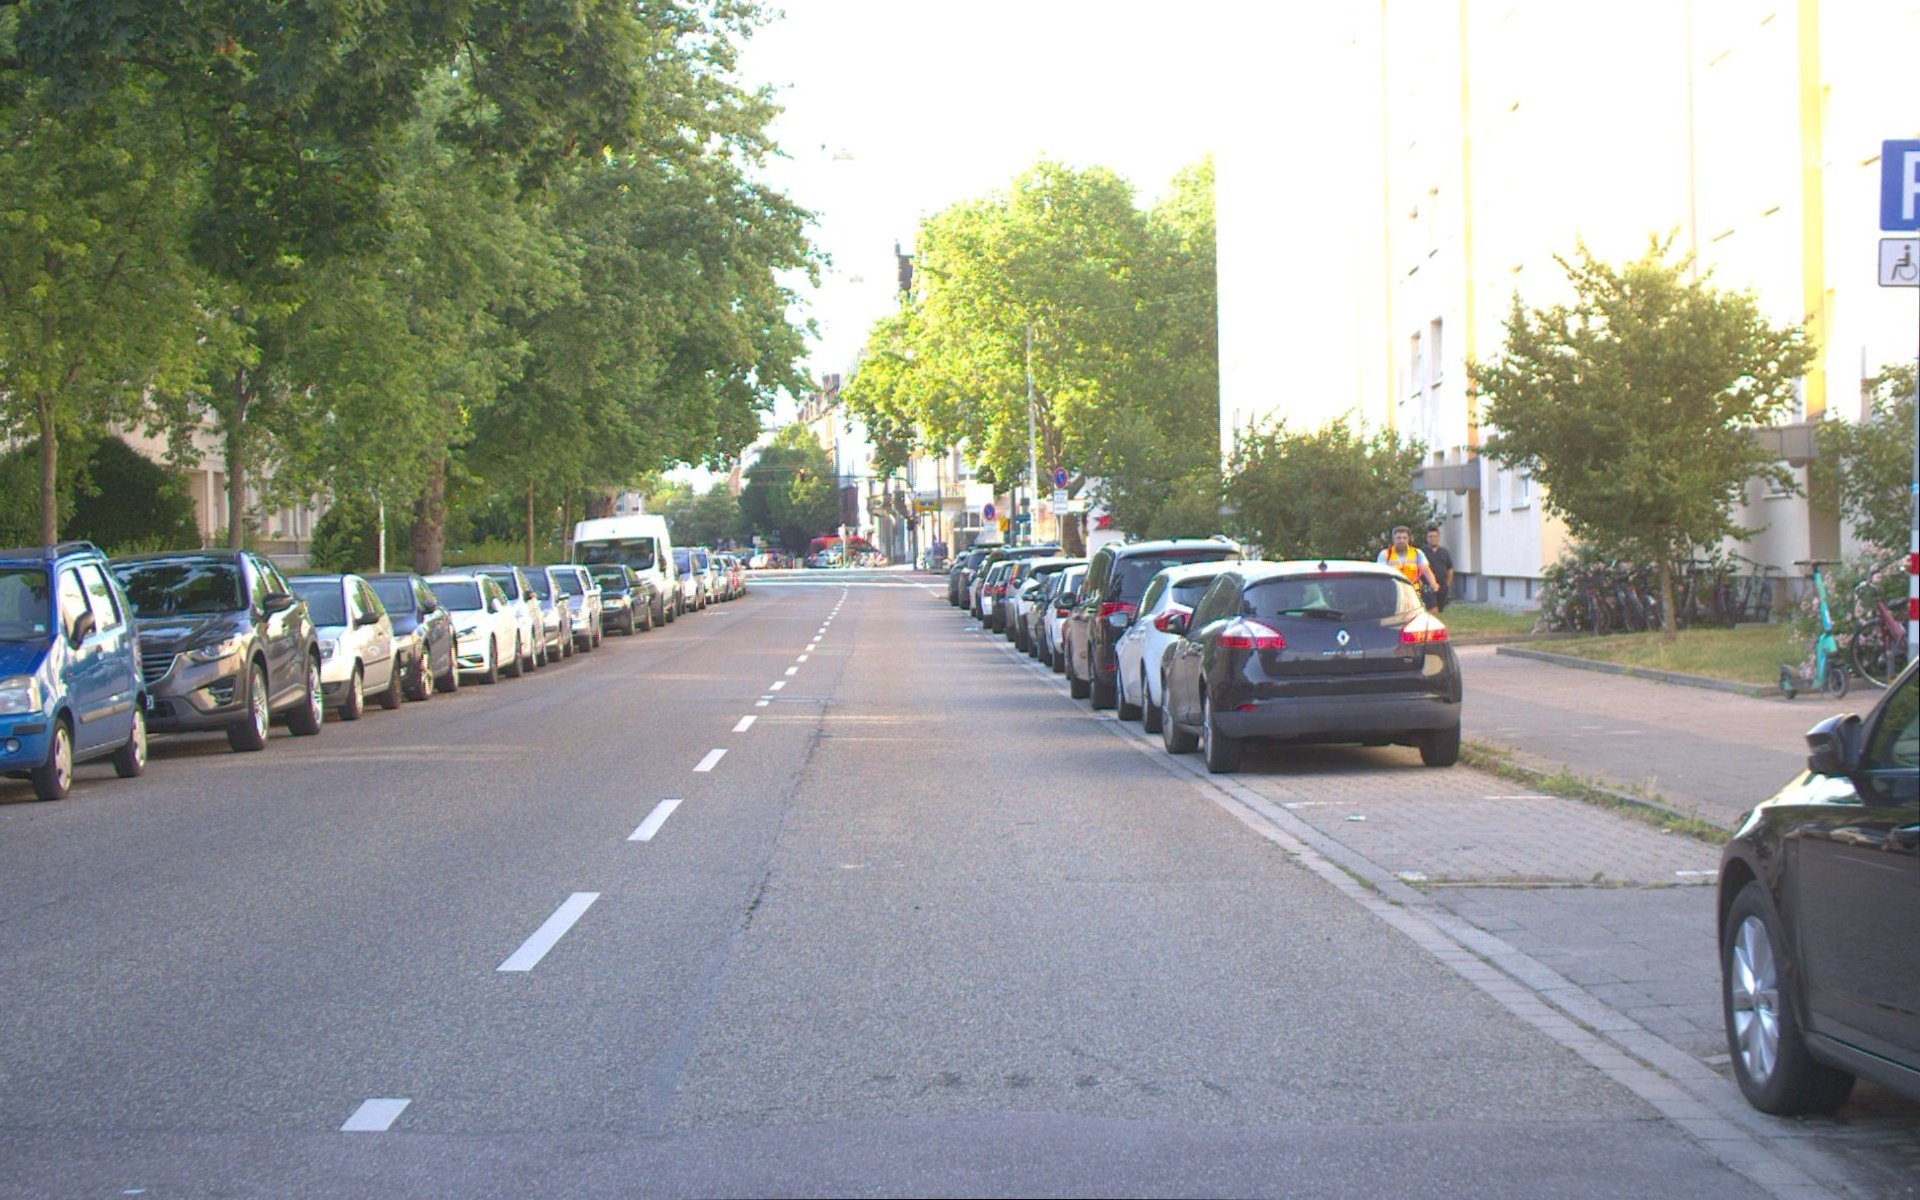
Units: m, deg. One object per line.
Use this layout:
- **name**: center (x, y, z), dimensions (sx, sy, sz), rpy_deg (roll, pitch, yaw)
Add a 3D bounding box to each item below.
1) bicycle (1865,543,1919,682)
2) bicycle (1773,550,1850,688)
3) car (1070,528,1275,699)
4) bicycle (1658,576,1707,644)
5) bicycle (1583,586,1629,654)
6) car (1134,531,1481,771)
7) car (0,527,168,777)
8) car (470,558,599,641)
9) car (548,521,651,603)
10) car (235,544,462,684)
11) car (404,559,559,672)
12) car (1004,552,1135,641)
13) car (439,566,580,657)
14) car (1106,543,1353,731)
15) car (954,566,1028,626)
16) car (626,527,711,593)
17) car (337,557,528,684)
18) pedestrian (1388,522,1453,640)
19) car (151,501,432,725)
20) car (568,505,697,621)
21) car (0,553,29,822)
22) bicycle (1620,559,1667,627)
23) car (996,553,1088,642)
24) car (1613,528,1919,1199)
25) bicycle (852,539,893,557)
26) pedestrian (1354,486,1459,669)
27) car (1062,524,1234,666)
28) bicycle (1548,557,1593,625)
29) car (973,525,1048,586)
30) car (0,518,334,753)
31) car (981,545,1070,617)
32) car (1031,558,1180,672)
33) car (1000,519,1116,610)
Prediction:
- **bicycle**: center (8.288, 0.108, 30.134), dimensions (0.333, 1.188, 1.240), rpy_deg (1, 0, -1)
- **bicycle**: center (7.558, 0.164, 30.540), dimensions (0.333, 1.188, 1.240), rpy_deg (1, 0, -1)
- **car**: center (2.197, 0.129, 36.602), dimensions (1.771, 1.672, 4.647), rpy_deg (-1, 0, -1)
- **bicycle**: center (10.226, 0.144, 48.705), dimensions (0.438, 0.938, 1.791), rpy_deg (1, 0, 4)
- **bicycle**: center (9.156, 0.274, 48.769), dimensions (0.438, 0.938, 1.791), rpy_deg (1, 0, 4)
- **car**: center (2.484, 0.343, 25.700), dimensions (1.798, 1.502, 4.622), rpy_deg (-4, 0, -3)
- **car**: center (-6.698, 0.302, 23.325), dimensions (1.873, 1.547, 4.000), rpy_deg (1, 0, -3)
- **car**: center (-7.384, -0.007, 59.994), dimensions (1.873, 1.351, 4.654), rpy_deg (1, 0, -3)
- **car**: center (-7.259, -0.750, 69.555), dimensions (1.707, 1.568, 3.819), rpy_deg (1, 0, -1)
- **car**: center (-6.720, 0.141, 38.255), dimensions (1.873, 1.429, 4.804), rpy_deg (1, 0, -3)
- **car**: center (-6.986, 0.214, 50.513), dimensions (1.873, 1.547, 4.000), rpy_deg (1, 0, -3)
- **car**: center (1.834, -0.065, 58.767), dimensions (1.873, 1.438, 4.000), rpy_deg (1, 0, -3)
- **car**: center (-7.089, 0.174, 54.391), dimensions (1.873, 1.351, 4.000), rpy_deg (1, 0, -3)
- **car**: center (2.380, 0.311, 31.293), dimensions (1.771, 1.503, 4.000), rpy_deg (-3, 0, -1)
- **car**: center (0.754, -0.102, 86.319), dimensions (1.679, 1.411, 4.724), rpy_deg (1, 0, -1)
- **car**: center (-7.856, -1.104, 93.050), dimensions (1.871, 1.553, 5.057), rpy_deg (-5, 2, -1)
- **car**: center (-6.851, 0.250, 45.066), dimensions (2.004, 1.547, 4.472), rpy_deg (1, 0, -3)
- **pedestrian**: center (6.583, -0.274, 49.170), dimensions (0.766, 1.652, 0.536), rpy_deg (-3, 0, -1)
- **car**: center (-6.591, 0.119, 34.328), dimensions (1.993, 2.007, 4.000), rpy_deg (-3, 0, -1)
- **car**: center (-7.294, -0.802, 77.214), dimensions (2.358, 2.437, 6.165), rpy_deg (1, 0, -1)
- **car**: center (-6.392, 0.534, 18.380), dimensions (1.873, 1.547, 4.000), rpy_deg (-2, 0, -3)
- **bicycle**: center (9.681, -0.101, 48.733), dimensions (0.438, 0.938, 1.791), rpy_deg (1, 0, 4)
- **car**: center (1.679, -0.053, 70.809), dimensions (1.837, 1.766, 3.978), rpy_deg (0, 0, 1)
- **car**: center (3.031, 0.584, 7.760), dimensions (1.886, 1.556, 4.947), rpy_deg (-2, 0, -3)
- **bicycle**: center (-6.177, -3.637, 242.402), dimensions (2.802, 1.199, 0.510), rpy_deg (1, 0, -7)
- **pedestrian**: center (4.721, -0.232, 36.389), dimensions (0.888, 1.884, 1.279), rpy_deg (1, 0, -1)
- **car**: center (2.239, -0.058, 41.922), dimensions (1.771, 1.611, 4.000), rpy_deg (1, 0, -1)
- **bicycle**: center (8.665, -0.122, 48.805), dimensions (0.438, 0.938, 1.791), rpy_deg (1, 0, 4)
- **car**: center (1.404, -1.269, 97.230), dimensions (1.897, 1.645, 4.343), rpy_deg (1, 1, -2)
- **car**: center (-6.430, 0.260, 28.379), dimensions (1.873, 1.753, 4.690), rpy_deg (-1, 0, -3)
- **car**: center (1.403, -0.414, 75.406), dimensions (1.837, 1.496, 4.172), rpy_deg (1, 0, 0)
- **car**: center (2.002, 0.201, 48.363), dimensions (1.771, 1.449, 4.000), rpy_deg (-3, 0, -1)
- **car**: center (1.841, -0.661, 65.870), dimensions (1.962, 1.600, 4.279), rpy_deg (-3, 0, -1)
